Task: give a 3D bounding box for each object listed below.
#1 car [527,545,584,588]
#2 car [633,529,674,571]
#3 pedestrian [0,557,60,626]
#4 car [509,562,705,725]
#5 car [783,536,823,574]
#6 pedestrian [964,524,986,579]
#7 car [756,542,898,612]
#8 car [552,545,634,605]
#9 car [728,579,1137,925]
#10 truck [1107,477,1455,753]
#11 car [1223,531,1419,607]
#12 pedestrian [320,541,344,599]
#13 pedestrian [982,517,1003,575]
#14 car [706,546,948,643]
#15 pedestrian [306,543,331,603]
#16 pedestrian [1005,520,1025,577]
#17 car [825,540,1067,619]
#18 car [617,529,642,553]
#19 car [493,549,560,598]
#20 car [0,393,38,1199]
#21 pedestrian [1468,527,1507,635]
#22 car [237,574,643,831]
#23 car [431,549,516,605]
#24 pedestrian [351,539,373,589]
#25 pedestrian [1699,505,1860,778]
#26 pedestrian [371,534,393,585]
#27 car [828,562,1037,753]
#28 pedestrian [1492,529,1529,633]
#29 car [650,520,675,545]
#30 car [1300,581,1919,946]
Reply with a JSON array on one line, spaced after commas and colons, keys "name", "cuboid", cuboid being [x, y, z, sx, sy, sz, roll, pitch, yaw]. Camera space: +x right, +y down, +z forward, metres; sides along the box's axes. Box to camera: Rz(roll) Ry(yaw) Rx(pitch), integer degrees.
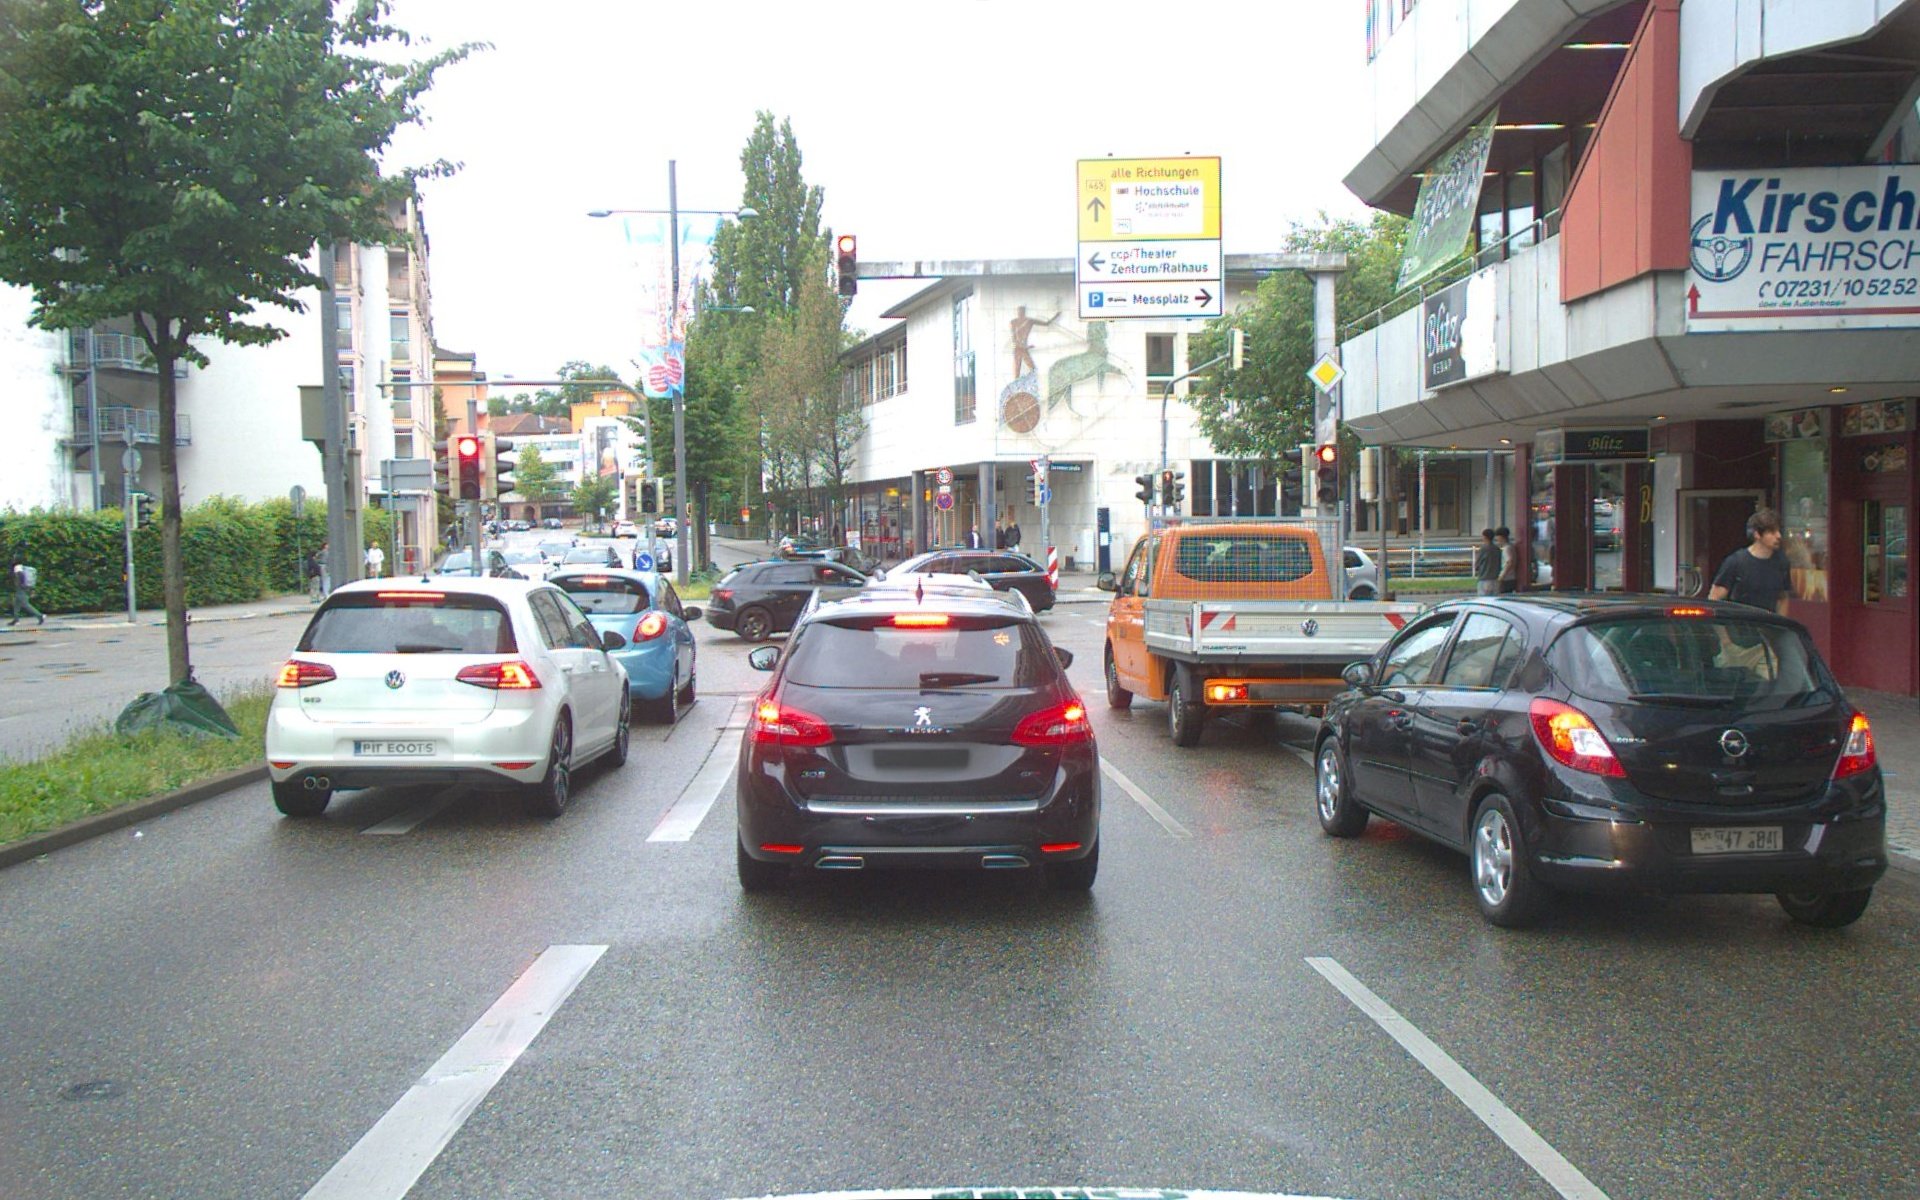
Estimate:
[{"name": "car", "cuboid": [-14.914, -1.261, 61.130, 1.602, 1.512, 3.605, 1, 2, -7]}, {"name": "car", "cuboid": [-13.467, -2.174, 72.625, 1.713, 1.669, 3.989, 1, -1, -11]}, {"name": "pedestrian", "cuboid": [-22.052, -0.197, 39.213, 1.041, 1.606, 0.683, 1, -1, -5]}, {"name": "car", "cuboid": [-3.608, 0.379, 17.441, 1.601, 1.512, 3.606, 1, 2, -6]}, {"name": "car", "cuboid": [-7.257, -2.048, 76.103, 1.692, 1.516, 4.725, 1, -1, -7]}, {"name": "pedestrian", "cuboid": [0.502, -1.613, 55.033, 0.623, 1.788, 0.734, 1, -1, 6]}, {"name": "car", "cuboid": [-3.270, -0.625, 41.584, 1.750, 1.479, 4.509, -1, 3, 21]}, {"name": "car", "cuboid": [-10.529, -0.685, 47.670, 1.710, 1.607, 3.996, 1, -1, -4]}, {"name": "car", "cuboid": [-0.202, 0.636, 9.017, 1.742, 1.454, 3.840, 1, 1, -3]}, {"name": "truck", "cuboid": [2.827, 0.055, 15.907, 2.133, 2.210, 5.018, 1, 2, -3]}, {"name": "car", "cuboid": [7.771, -0.641, 35.716, 3.828, 1.512, 1.618, 1, -1, -13]}, {"name": "pedestrian", "cuboid": [-19.471, -0.928, 51.273, 0.528, 1.778, 0.564, 1, -1, -6]}, {"name": "pedestrian", "cuboid": [1.118, -1.847, 56.472, 0.623, 1.930, 0.734, 1, -1, 6]}, {"name": "car", "cuboid": [-2.418, -0.126, 29.733, 4.152, 1.592, 1.700, -1, 1, -12]}, {"name": "pedestrian", "cuboid": [-19.288, -0.812, 49.754, 0.529, 1.778, 0.746, 1, -1, -9]}, {"name": "pedestrian", "cuboid": [1.884, -1.754, 56.549, 0.623, 1.930, 0.734, 1, -1, 6]}, {"name": "car", "cuboid": [-0.308, -0.422, 33.348, 4.640, 1.512, 1.633, 0, 1, -13]}, {"name": "car", "cuboid": [-29.142, -5.206, 145.655, 1.679, 1.915, 3.980, 1, -1, -18]}, {"name": "car", "cuboid": [-14.056, -0.888, 53.797, 1.602, 1.512, 3.605, 1, 2, -7]}, {"name": "car", "cuboid": [-3.004, 0.448, 1.249, 1.873, 1.903, 5.071, 1, -1, -2]}, {"name": "pedestrian", "cuboid": [8.422, -0.297, 26.407, 0.417, 1.712, 0.450, -1, -1, -2]}, {"name": "car", "cuboid": [-3.346, 0.563, 11.401, 1.742, 1.454, 3.840, 1, 1, -3]}, {"name": "car", "cuboid": [-13.742, -0.684, 46.860, 1.543, 1.512, 3.607, 1, 2, -4]}, {"name": "pedestrian", "cuboid": [-21.169, -1.267, 58.568, 0.584, 1.758, 0.655, 1, -1, -9]}, {"name": "pedestrian", "cuboid": [5.853, 0.289, 11.861, 0.726, 1.847, 0.774, -4, -1, 11]}, {"name": "pedestrian", "cuboid": [-20.602, -1.443, 58.962, 0.584, 1.758, 0.655, 1, -1, -9]}, {"name": "car", "cuboid": [-0.253, 0.421, 15.233, 1.662, 1.512, 3.793, 1, 2, -1]}, {"name": "pedestrian", "cuboid": [8.924, -0.305, 26.809, 0.388, 1.668, 0.504, -1, -1, 0]}, {"name": "car", "cuboid": [-26.399, -5.983, 146.904, 1.679, 1.970, 3.980, 1, -1, -18]}, {"name": "car", "cuboid": [3.088, 0.649, 8.678, 1.584, 1.454, 3.839, 1, 1, -4]}]
